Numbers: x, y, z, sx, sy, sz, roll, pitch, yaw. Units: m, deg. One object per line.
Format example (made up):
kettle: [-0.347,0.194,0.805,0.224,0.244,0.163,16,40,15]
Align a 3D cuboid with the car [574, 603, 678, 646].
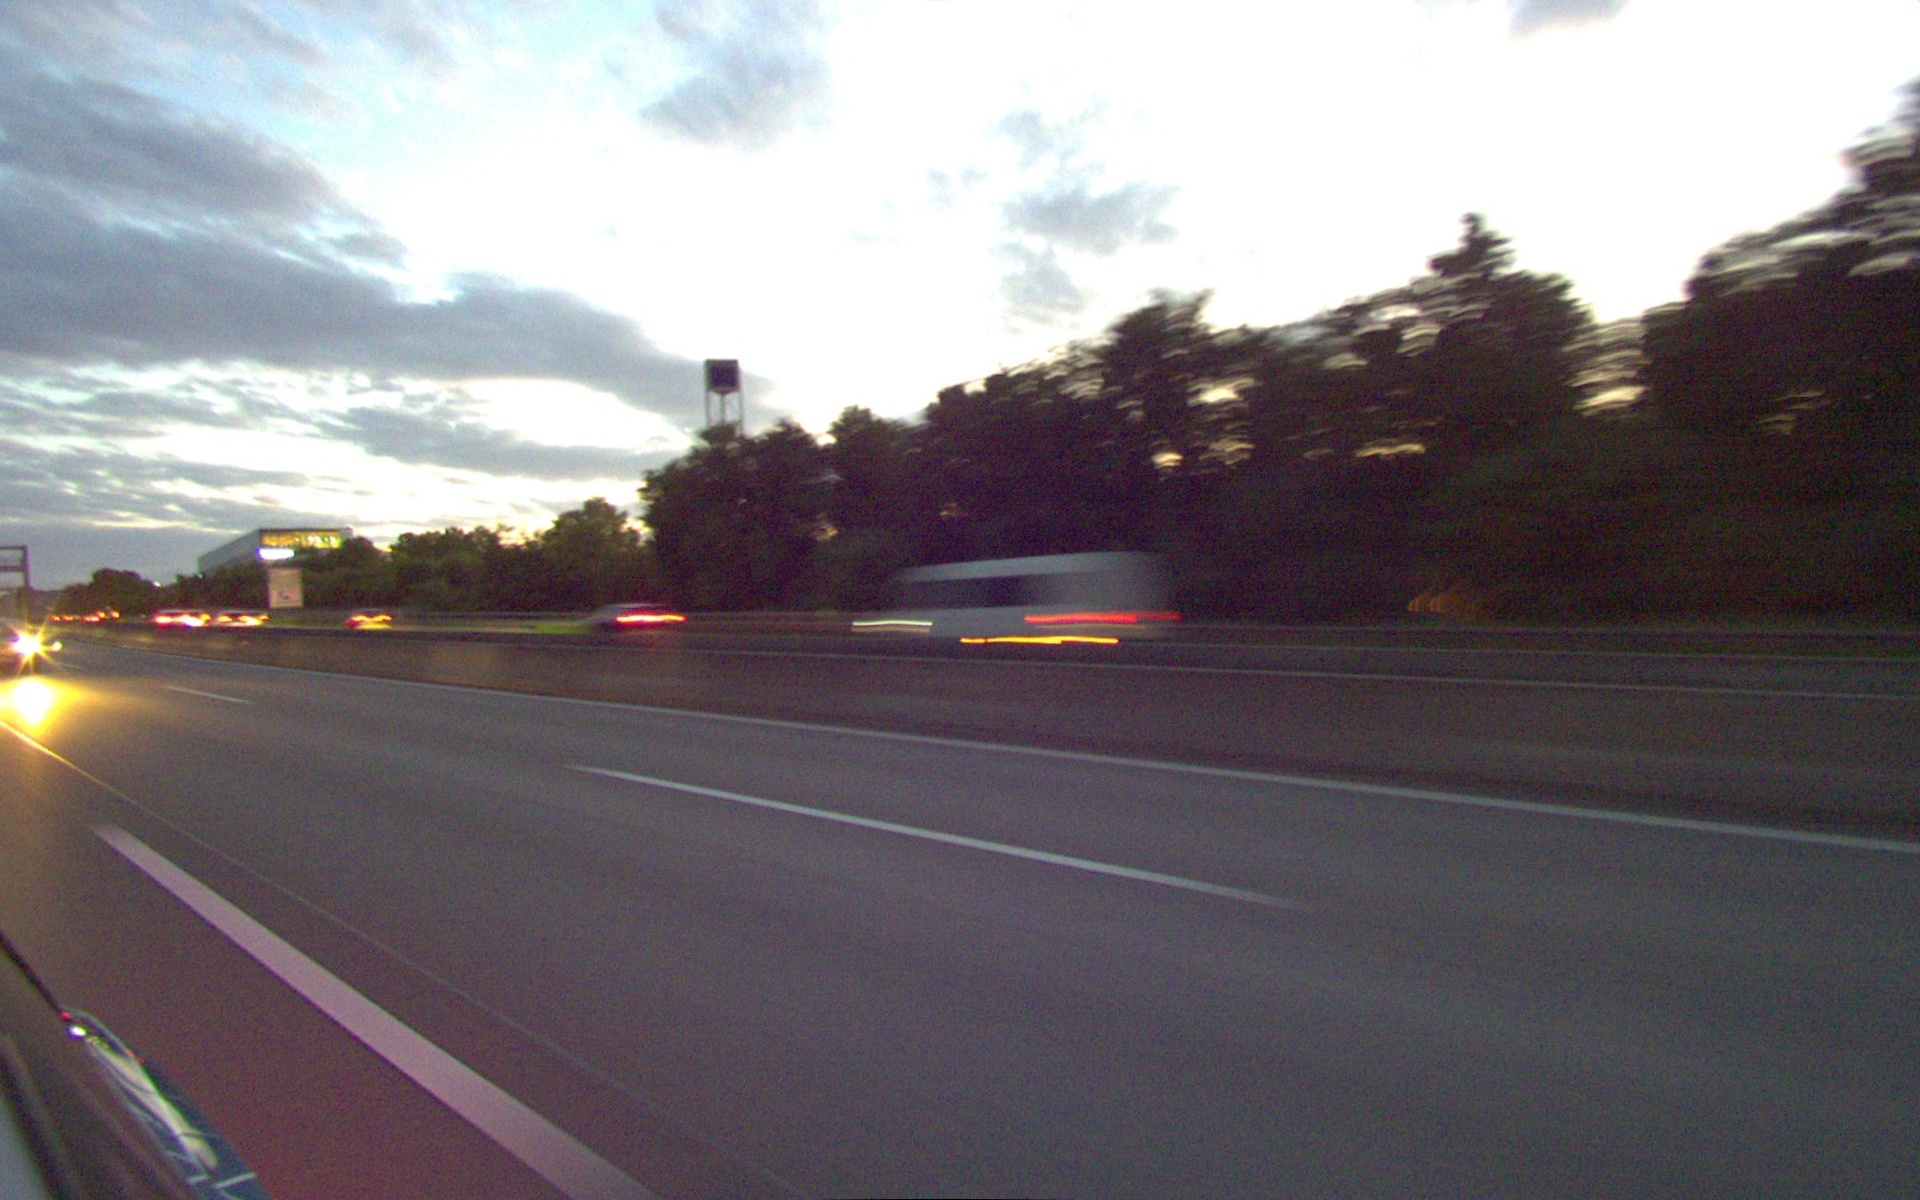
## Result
car: [-14.176,0.995,42.845,4.969,1.706,1.972,-1,0,42]

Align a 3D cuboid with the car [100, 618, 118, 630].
car: [-139.422,3.932,165.789,4.584,1.823,1.768,-1,0,45]

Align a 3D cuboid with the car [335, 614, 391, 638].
car: [-38.672,1.637,65.499,4.236,1.471,1.972,-1,0,43]

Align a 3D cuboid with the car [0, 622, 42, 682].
car: [-25.882,1.355,26.959,3.999,1.491,1.695,-1,0,42]

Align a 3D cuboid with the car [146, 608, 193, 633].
car: [-59.677,1.526,76.369,5.050,1.748,1.972,-1,0,43]

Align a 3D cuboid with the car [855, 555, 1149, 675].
car: [0.767,0.320,23.863,7.092,2.450,2.301,-1,0,42]

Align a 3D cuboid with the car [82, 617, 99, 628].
car: [-165.564,4.229,192.636,3.999,2.029,1.972,-1,0,42]

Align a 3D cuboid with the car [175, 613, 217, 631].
car: [-66.190,1.913,87.649,5.023,1.484,1.972,-1,0,43]

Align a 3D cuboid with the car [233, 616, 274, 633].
car: [-62.653,2.178,89.697,5.023,1.412,1.972,-1,0,43]

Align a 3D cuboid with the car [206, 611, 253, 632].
car: [-54.721,1.572,75.762,4.558,1.516,1.972,-1,0,43]
